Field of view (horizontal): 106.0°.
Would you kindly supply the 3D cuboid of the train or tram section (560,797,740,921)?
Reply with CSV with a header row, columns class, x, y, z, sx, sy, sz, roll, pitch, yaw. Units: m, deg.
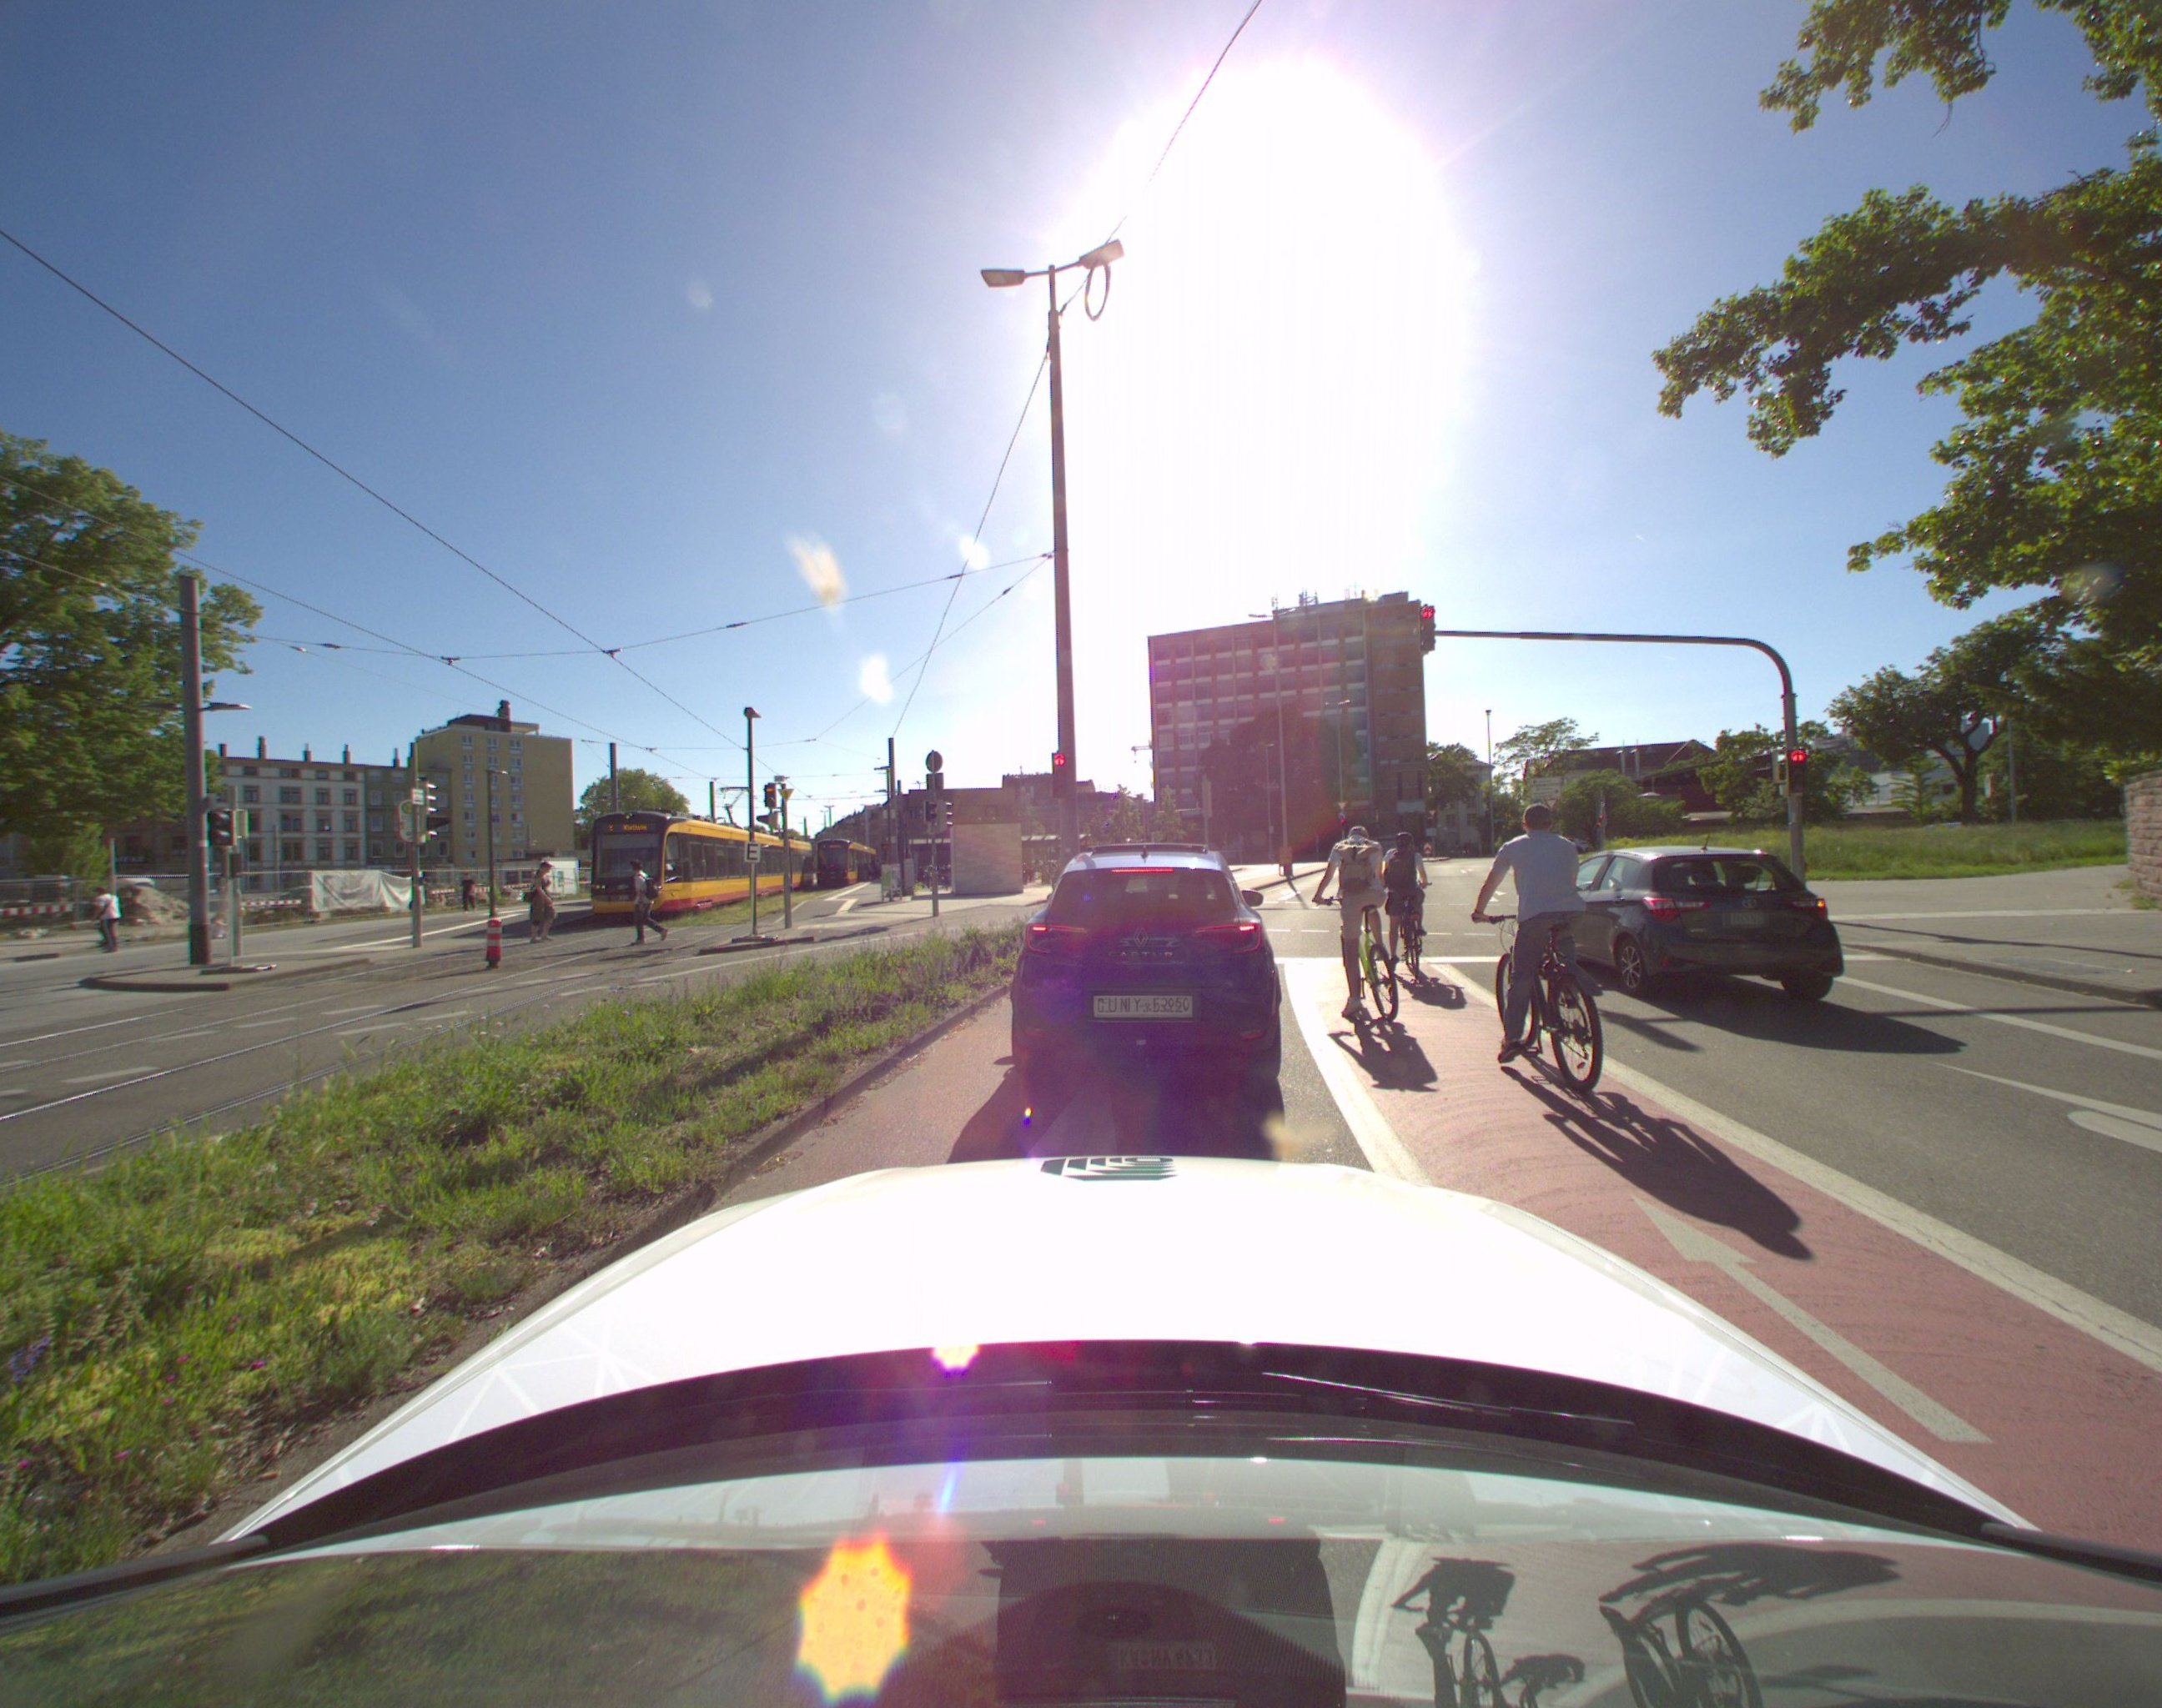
class,x,y,z,sx,sy,sz,roll,pitch,yaw
train or tram section,-14.691,0.184,28.883,2.820,3.508,10.433,-2,0,-12

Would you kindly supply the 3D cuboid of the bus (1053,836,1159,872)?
class,x,y,z,sx,sy,sz,roll,pitch,yaw
bus,2.518,0.106,86.992,12.287,3.396,2.900,-2,-2,42

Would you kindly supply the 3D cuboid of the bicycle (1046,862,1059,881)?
class,x,y,z,sx,sy,sz,roll,pitch,yaw
bicycle,-1.714,1.064,48.965,0.580,1.088,2.053,-1,-1,-7

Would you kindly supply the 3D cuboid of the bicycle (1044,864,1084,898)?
class,x,y,z,sx,sy,sz,roll,pitch,yaw
bicycle,-0.573,0.903,28.172,0.767,1.080,2.044,-3,-1,16

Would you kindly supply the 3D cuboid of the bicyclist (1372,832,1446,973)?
class,x,y,z,sx,sy,sz,roll,pitch,yaw
bicyclist,4.000,0.562,9.991,0.716,1.626,1.059,-1,0,16

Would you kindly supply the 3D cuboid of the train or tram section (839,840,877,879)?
class,x,y,z,sx,sy,sz,roll,pitch,yaw
train or tram section,-21.863,0.531,80.239,2.873,3.508,10.499,-1,0,-12

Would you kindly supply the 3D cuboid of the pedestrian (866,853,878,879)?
class,x,y,z,sx,sy,sz,roll,pitch,yaw
pedestrian,-15.818,0.907,61.710,0.848,1.883,0.757,-1,-2,-14

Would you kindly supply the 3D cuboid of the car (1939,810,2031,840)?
class,x,y,z,sx,sy,sz,roll,pitch,yaw
car,69.168,-2.197,62.435,4.305,2.014,2.013,-2,-2,33

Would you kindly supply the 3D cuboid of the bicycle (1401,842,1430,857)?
class,x,y,z,sx,sy,sz,roll,pitch,yaw
bicycle,36.054,-0.501,87.717,2.775,1.541,0.889,-2,-2,27

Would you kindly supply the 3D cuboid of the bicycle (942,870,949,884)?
class,x,y,z,sx,sy,sz,roll,pitch,yaw
bicycle,-8.809,1.494,53.020,0.421,0.938,1.374,0,-1,-9

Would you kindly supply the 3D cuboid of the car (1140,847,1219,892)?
class,x,y,z,sx,sy,sz,roll,pitch,yaw
car,3.727,0.530,30.228,1.784,1.393,4.116,-2,1,23

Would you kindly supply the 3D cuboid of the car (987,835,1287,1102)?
class,x,y,z,sx,sy,sz,roll,pitch,yaw
car,0.567,0.692,6.801,1.813,1.600,3.666,-1,0,8

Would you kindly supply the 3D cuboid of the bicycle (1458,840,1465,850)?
class,x,y,z,sx,sy,sz,roll,pitch,yaw
bicycle,46.029,-1.112,98.491,0.603,1.093,1.682,-3,0,32

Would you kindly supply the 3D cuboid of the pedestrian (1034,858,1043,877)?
class,x,y,z,sx,sy,sz,roll,pitch,yaw
pedestrian,-4.226,1.333,80.291,0.721,1.857,0.705,-1,-2,10

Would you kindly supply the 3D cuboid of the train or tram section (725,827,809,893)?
class,x,y,z,sx,sy,sz,roll,pitch,yaw
train or tram section,-18.897,0.379,49.735,2.818,3.508,11.166,-1,0,-11

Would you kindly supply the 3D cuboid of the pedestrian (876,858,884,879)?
class,x,y,z,sx,sy,sz,roll,pitch,yaw
pedestrian,-17.402,1.256,70.445,0.634,1.857,0.699,0,-2,-17

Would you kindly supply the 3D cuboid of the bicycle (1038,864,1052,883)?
class,x,y,z,sx,sy,sz,roll,pitch,yaw
bicycle,-1.936,1.048,43.235,0.580,0.961,2.053,-1,-1,-7

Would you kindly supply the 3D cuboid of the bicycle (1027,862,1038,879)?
class,x,y,z,sx,sy,sz,roll,pitch,yaw
bicycle,-3.353,1.147,56.412,0.580,1.088,1.865,-1,-1,-9

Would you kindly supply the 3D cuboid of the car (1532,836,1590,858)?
class,x,y,z,sx,sy,sz,roll,pitch,yaw
car,41.059,-0.556,69.740,4.195,1.568,1.835,-4,-1,29

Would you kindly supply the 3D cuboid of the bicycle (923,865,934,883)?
class,x,y,z,sx,sy,sz,roll,pitch,yaw
bicycle,-9.851,1.281,52.614,0.565,1.093,2.023,-1,-1,-9

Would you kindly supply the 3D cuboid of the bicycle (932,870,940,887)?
class,x,y,z,sx,sy,sz,roll,pitch,yaw
bicycle,-8.533,1.447,47.988,0.422,0.938,1.300,0,-1,-13

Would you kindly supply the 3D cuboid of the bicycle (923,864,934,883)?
class,x,y,z,sx,sy,sz,roll,pitch,yaw
bicycle,-8.664,1.112,46.274,0.565,1.093,2.023,-1,-1,-9

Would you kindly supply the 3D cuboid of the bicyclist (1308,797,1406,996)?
class,x,y,z,sx,sy,sz,roll,pitch,yaw
bicyclist,2.575,0.379,7.697,0.660,1.747,1.008,-2,0,9

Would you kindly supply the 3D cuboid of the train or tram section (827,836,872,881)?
class,x,y,z,sx,sy,sz,roll,pitch,yaw
train or tram section,-19.759,0.400,69.996,2.873,3.508,10.499,-1,0,-12

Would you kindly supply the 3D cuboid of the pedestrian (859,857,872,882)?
class,x,y,z,sx,sy,sz,roll,pitch,yaw
pedestrian,-16.076,1.161,60.732,0.848,1.883,0.757,-1,-2,-14

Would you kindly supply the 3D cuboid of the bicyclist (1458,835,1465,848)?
class,x,y,z,sx,sy,sz,roll,pitch,yaw
bicyclist,45.962,-1.513,98.434,0.612,1.444,0.824,-2,0,32

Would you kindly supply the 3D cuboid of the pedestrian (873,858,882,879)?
class,x,y,z,sx,sy,sz,roll,pitch,yaw
pedestrian,-18.114,1.265,72.402,0.631,1.857,0.701,-1,-2,-7

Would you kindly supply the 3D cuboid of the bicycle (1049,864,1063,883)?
class,x,y,z,sx,sy,sz,roll,pitch,yaw
bicycle,-1.322,1.039,43.308,0.580,0.961,2.053,-1,-1,-7

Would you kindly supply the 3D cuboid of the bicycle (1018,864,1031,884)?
class,x,y,z,sx,sy,sz,roll,pitch,yaw
bicycle,-2.964,1.058,42.884,0.580,1.058,1.812,-1,-1,-7

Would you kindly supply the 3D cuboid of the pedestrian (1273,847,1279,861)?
class,x,y,z,sx,sy,sz,roll,pitch,yaw
pedestrian,23.869,0.036,99.699,0.555,1.670,0.479,-2,-2,39

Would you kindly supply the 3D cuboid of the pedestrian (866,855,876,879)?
class,x,y,z,sx,sy,sz,roll,pitch,yaw
pedestrian,-17.066,1.059,66.037,0.673,1.857,0.701,-1,-2,-7

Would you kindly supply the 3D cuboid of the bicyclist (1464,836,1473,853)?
class,x,y,z,sx,sy,sz,roll,pitch,yaw
bicyclist,41.711,-1.015,87.652,0.850,1.692,0.889,-2,-2,27

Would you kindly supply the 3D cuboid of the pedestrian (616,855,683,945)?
class,x,y,z,sx,sy,sz,roll,pitch,yaw
pedestrian,-9.334,0.985,17.661,1.018,1.832,0.757,-4,-1,-14

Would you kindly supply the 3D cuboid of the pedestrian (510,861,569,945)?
class,x,y,z,sx,sy,sz,roll,pitch,yaw
pedestrian,-12.544,1.117,18.907,0.902,1.850,0.759,-2,2,-20

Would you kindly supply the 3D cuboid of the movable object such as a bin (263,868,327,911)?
class,x,y,z,sx,sy,sz,roll,pitch,yaw
movable object such as a bin,-53.460,2.410,55.377,3.950,2.796,1.844,-2,-2,26

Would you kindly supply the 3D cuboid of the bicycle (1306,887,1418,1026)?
class,x,y,z,sx,sy,sz,roll,pitch,yaw
bicycle,2.598,0.894,7.728,0.659,1.047,1.895,-2,1,9

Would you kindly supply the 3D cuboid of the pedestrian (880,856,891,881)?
class,x,y,z,sx,sy,sz,roll,pitch,yaw
pedestrian,-15.056,1.130,62.721,0.848,1.883,0.757,-1,-2,-14

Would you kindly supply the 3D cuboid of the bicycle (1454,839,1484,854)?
class,x,y,z,sx,sy,sz,roll,pitch,yaw
bicycle,41.740,-0.777,87.636,2.775,1.541,0.889,-2,-2,27

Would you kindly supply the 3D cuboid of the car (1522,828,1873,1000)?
class,x,y,z,sx,sy,sz,roll,pitch,yaw
car,6.585,0.556,9.260,1.744,1.541,3.670,-1,0,12

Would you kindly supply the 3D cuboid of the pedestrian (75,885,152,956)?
class,x,y,z,sx,sy,sz,roll,pitch,yaw
pedestrian,-25.671,1.737,21.624,0.973,1.767,0.859,-2,0,-20

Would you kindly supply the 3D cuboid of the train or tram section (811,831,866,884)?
class,x,y,z,sx,sy,sz,roll,pitch,yaw
train or tram section,-17.603,0.289,59.735,2.873,3.508,10.499,-1,0,-12

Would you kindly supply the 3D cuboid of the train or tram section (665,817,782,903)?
class,x,y,z,sx,sy,sz,roll,pitch,yaw
train or tram section,-16.796,0.281,39.131,2.818,3.508,10.569,-1,0,-11

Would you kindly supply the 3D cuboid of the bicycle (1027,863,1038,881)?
class,x,y,z,sx,sy,sz,roll,pitch,yaw
bicycle,-2.922,1.085,48.922,0.580,1.088,2.053,-1,-1,-7

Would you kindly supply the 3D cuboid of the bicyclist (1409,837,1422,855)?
class,x,y,z,sx,sy,sz,roll,pitch,yaw
bicyclist,36.052,-0.827,87.709,1.195,1.897,0.889,-2,-2,27

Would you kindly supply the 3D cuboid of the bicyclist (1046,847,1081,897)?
class,x,y,z,sx,sy,sz,roll,pitch,yaw
bicyclist,-0.602,0.618,28.182,0.873,1.644,1.065,-3,-1,16

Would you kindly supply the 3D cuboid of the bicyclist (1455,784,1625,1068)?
class,x,y,z,sx,sy,sz,roll,pitch,yaw
bicyclist,3.138,0.459,5.677,0.744,1.776,1.018,-2,-1,14

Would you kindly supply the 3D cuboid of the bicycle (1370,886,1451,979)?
class,x,y,z,sx,sy,sz,roll,pitch,yaw
bicycle,4.029,0.915,10.086,0.717,0.960,1.892,-1,0,16

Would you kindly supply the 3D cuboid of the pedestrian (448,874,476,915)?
class,x,y,z,sx,sy,sz,roll,pitch,yaw
pedestrian,-27.563,1.813,36.299,0.668,1.767,0.796,-2,0,-13

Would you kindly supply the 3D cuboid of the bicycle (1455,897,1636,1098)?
class,x,y,z,sx,sy,sz,roll,pitch,yaw
bicycle,3.166,0.897,5.740,0.606,1.077,1.837,-2,0,14

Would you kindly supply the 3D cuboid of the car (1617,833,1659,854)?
class,x,y,z,sx,sy,sz,roll,pitch,yaw
car,54.149,-1.030,79.152,3.873,1.935,1.889,0,-2,-30
